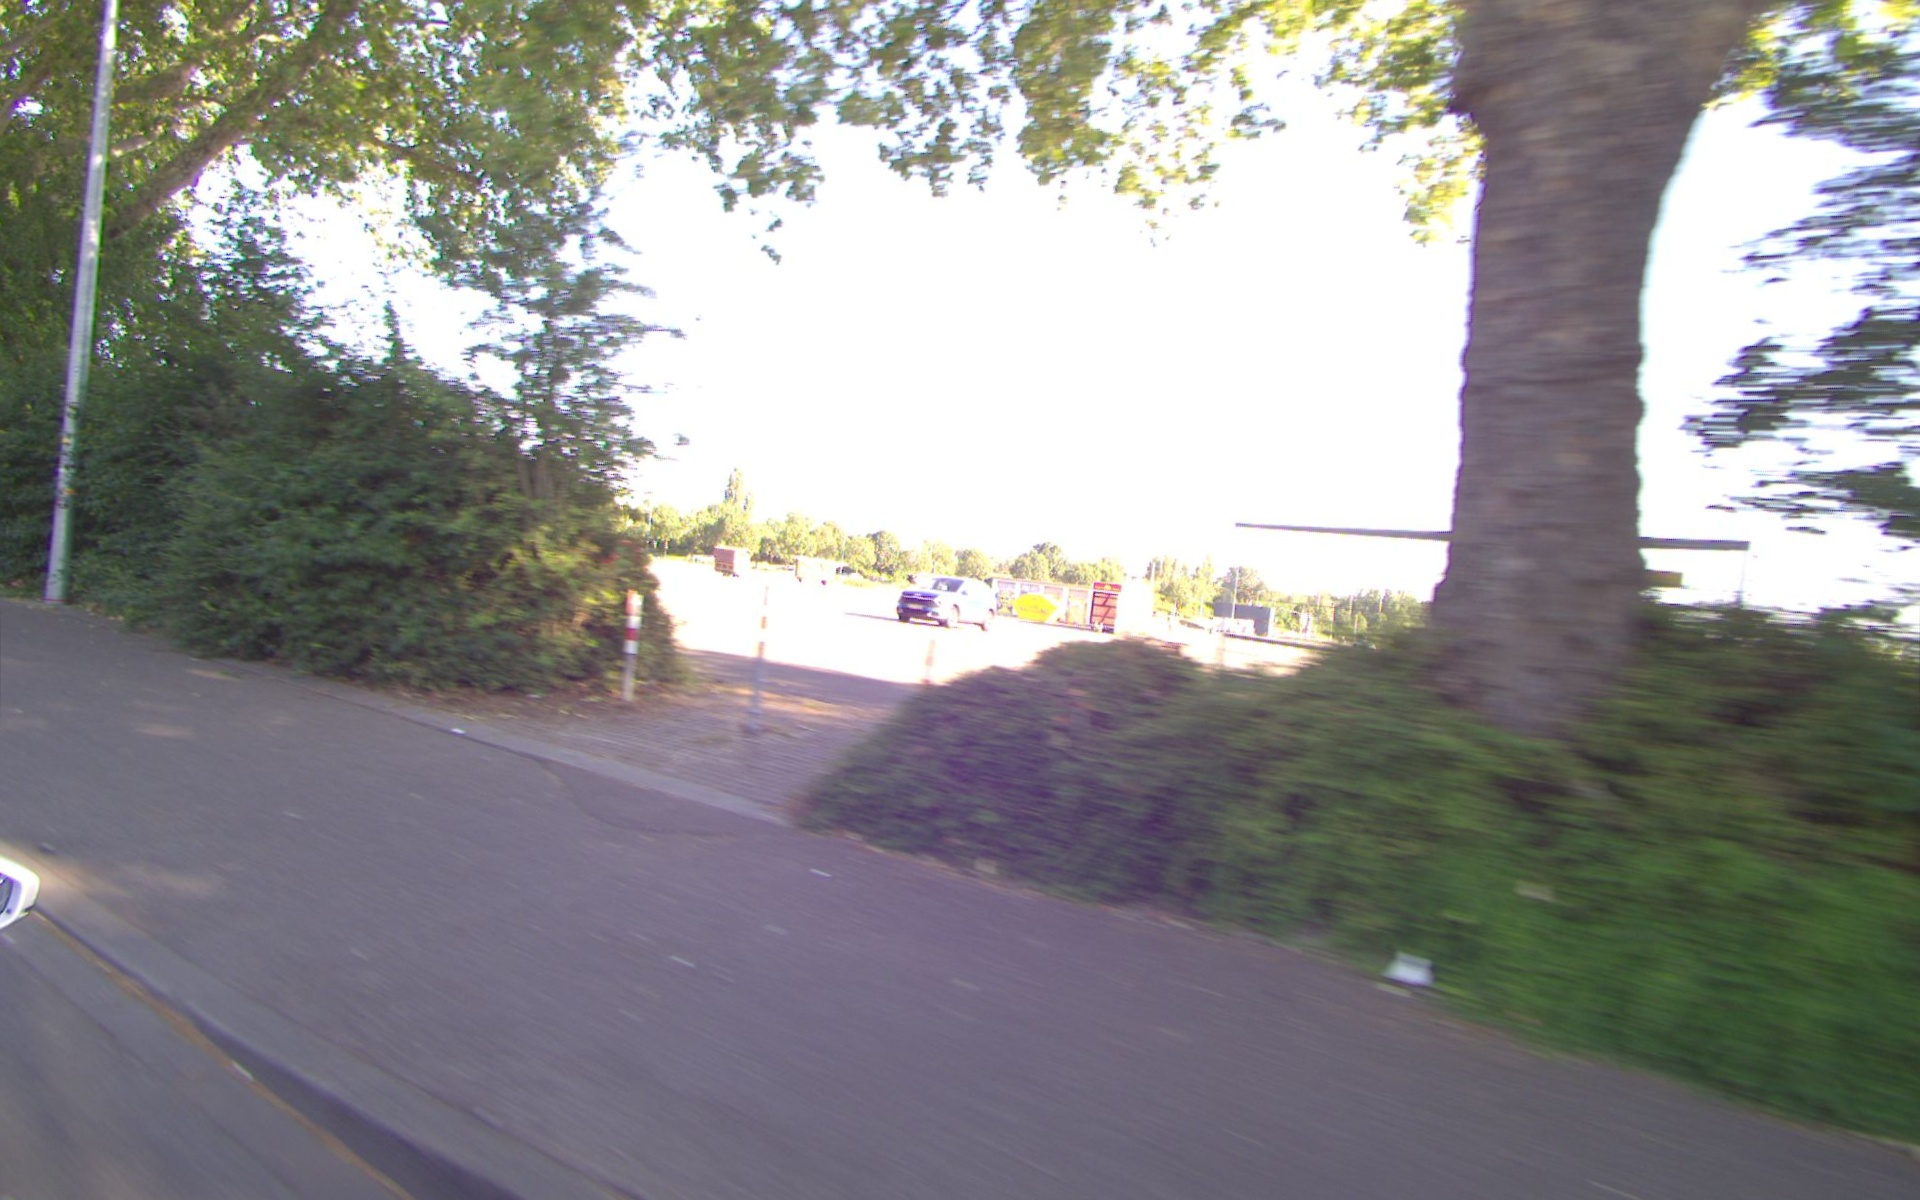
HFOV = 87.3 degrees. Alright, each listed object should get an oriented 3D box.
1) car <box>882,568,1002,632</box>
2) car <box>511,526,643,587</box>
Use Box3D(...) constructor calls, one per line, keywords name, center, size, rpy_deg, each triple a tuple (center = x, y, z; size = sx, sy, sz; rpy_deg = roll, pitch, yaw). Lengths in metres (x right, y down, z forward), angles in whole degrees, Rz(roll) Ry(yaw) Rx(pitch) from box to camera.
Box3D(name="car", center=(-0.488, 0.033, 32.184), size=(1.965, 1.633, 4.188), rpy_deg=(7, 1, 27))
Box3D(name="car", center=(-12.681, -1.408, 33.543), size=(1.712, 1.549, 3.845), rpy_deg=(7, 0, 28))
